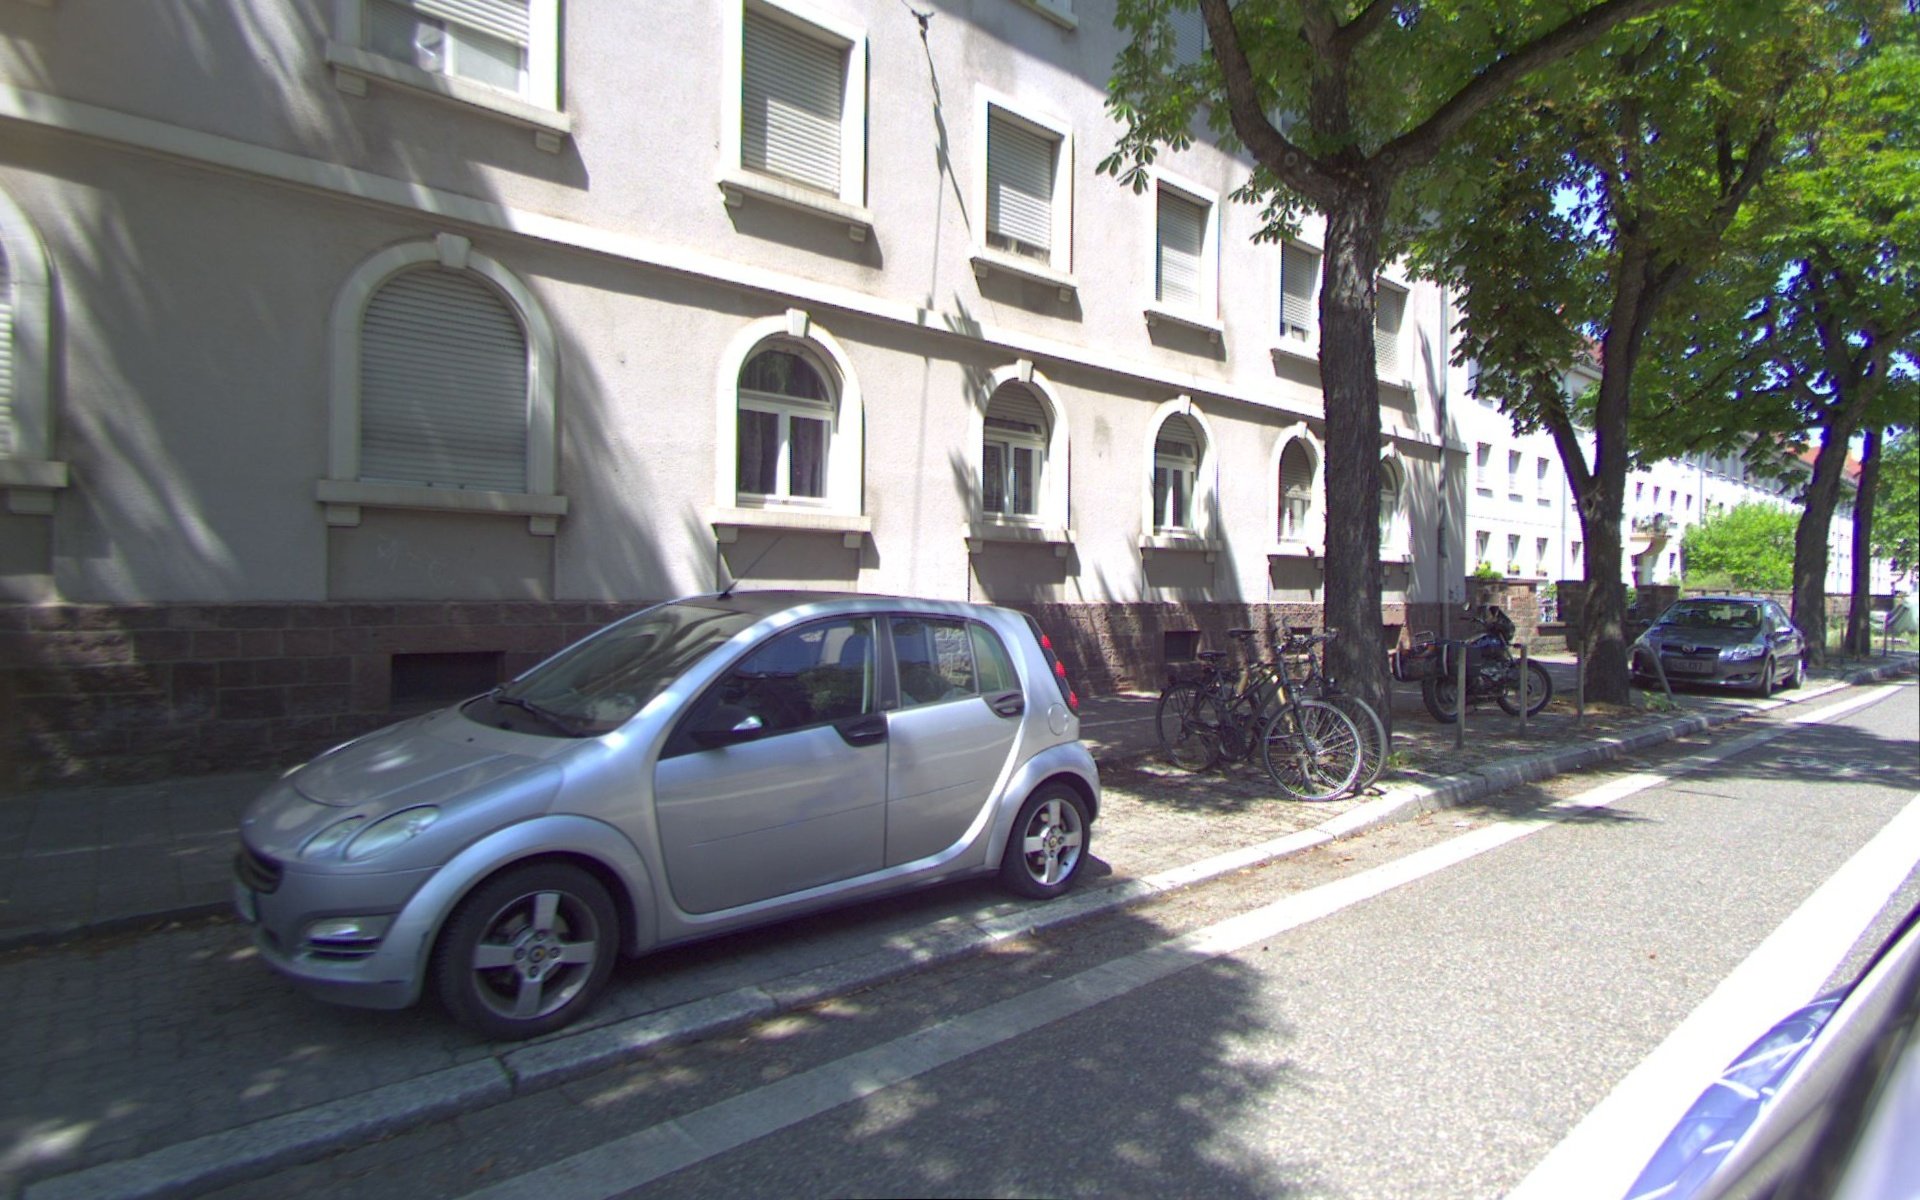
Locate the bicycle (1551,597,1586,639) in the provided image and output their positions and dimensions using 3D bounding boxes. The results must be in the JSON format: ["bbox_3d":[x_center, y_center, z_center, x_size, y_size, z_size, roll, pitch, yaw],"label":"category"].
[{"bbox_3d":[16.044,0.463,26.685,0.459,1.069,1.540,2,2,43],"label":"bicycle"}]

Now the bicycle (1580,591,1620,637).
[{"bbox_3d":[17.406,0.376,27.513,1.537,1.206,0.460,0,1,-40],"label":"bicycle"}]

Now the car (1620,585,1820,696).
[{"bbox_3d":[12.463,0.586,16.501,4.231,1.519,1.777,0,2,-42],"label":"car"}]

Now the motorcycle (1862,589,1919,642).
[{"bbox_3d":[28.708,0.466,30.592,0.853,1.560,2.319,1,0,2],"label":"motorcycle"}]

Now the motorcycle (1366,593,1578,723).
[{"bbox_3d":[5.788,0.601,11.411,2.330,1.316,1.001,1,1,-30],"label":"motorcycle"}]

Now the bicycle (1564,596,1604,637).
[{"bbox_3d":[17.159,0.448,27.802,1.537,1.069,0.460,0,1,-40],"label":"bicycle"}]

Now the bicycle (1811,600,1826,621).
[{"bbox_3d":[45.765,0.527,53.922,0.478,1.091,1.894,1,1,43],"label":"bicycle"}]

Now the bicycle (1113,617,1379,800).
[{"bbox_3d":[2.010,0.710,7.421,0.587,1.076,1.971,0,1,-33],"label":"bicycle"}]

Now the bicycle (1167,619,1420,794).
[{"bbox_3d":[2.432,0.722,7.629,0.528,1.065,1.897,0,1,-33],"label":"bicycle"}]

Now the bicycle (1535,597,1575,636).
[{"bbox_3d":[16.664,0.455,28.323,1.537,1.069,0.460,0,1,-40],"label":"bicycle"}]

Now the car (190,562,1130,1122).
[{"bbox_3d":[-1.091,0.621,4.587,3.743,1.465,1.625,-1,4,-41],"label":"car"}]
